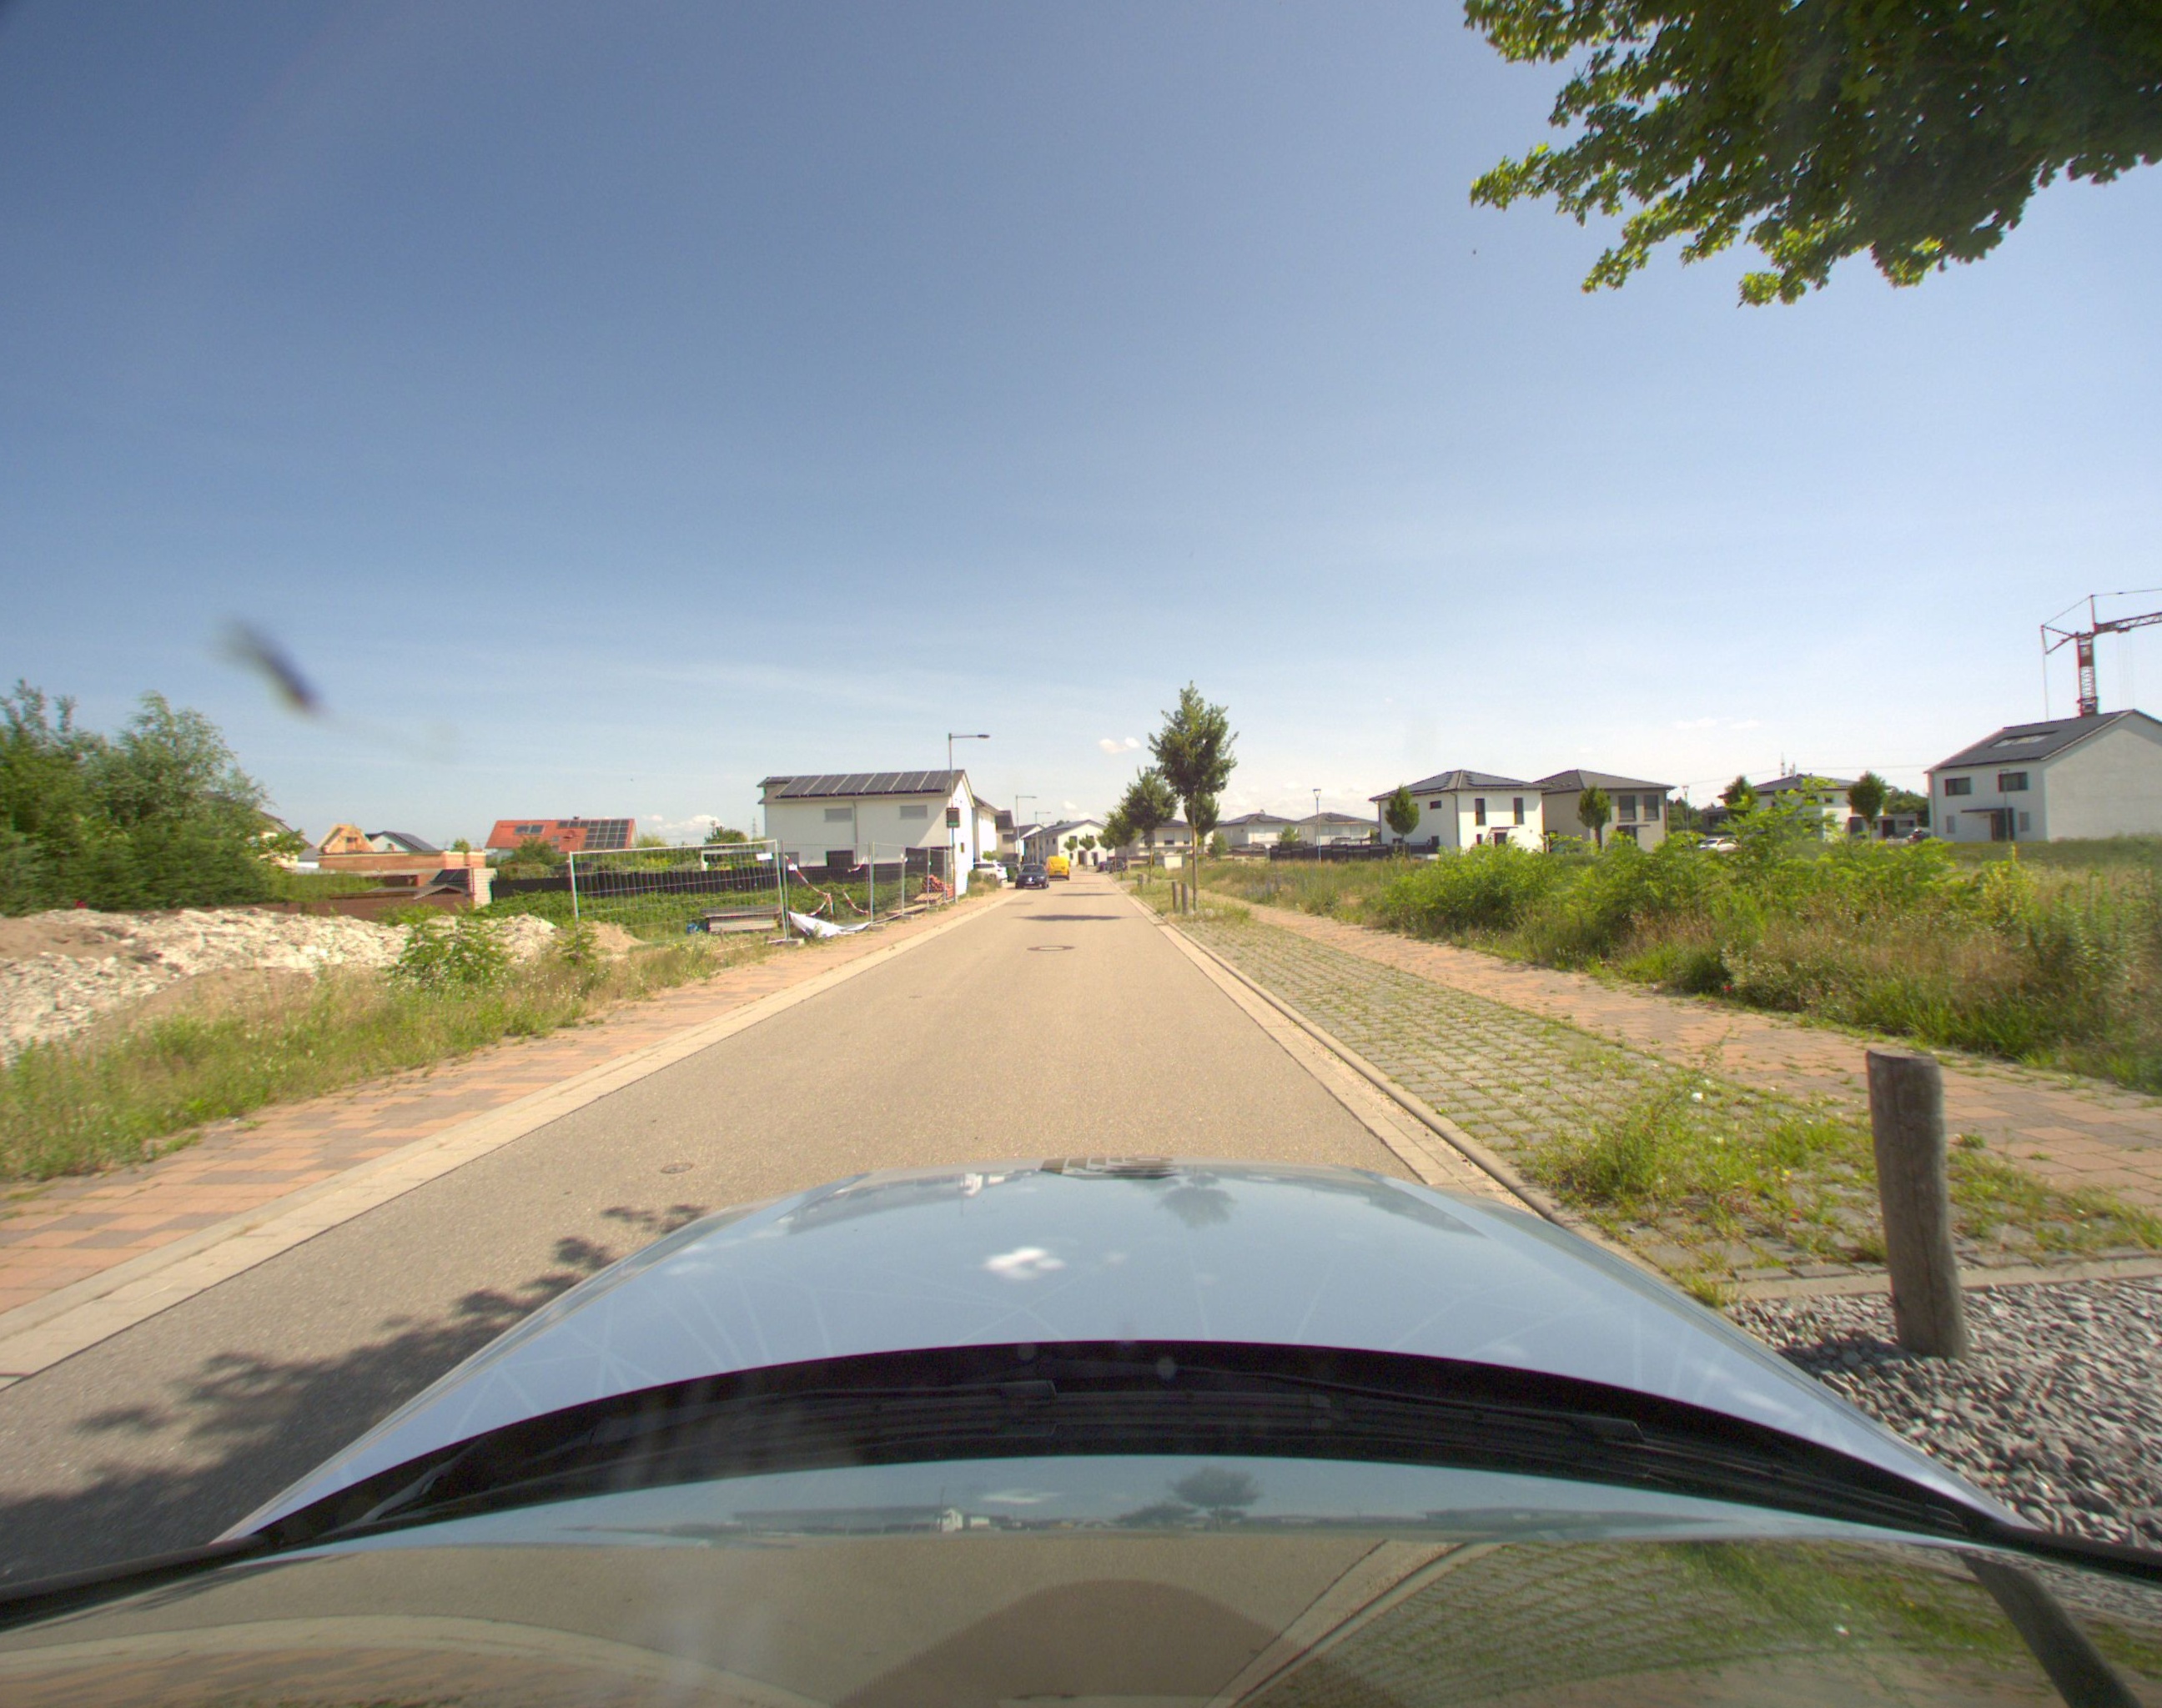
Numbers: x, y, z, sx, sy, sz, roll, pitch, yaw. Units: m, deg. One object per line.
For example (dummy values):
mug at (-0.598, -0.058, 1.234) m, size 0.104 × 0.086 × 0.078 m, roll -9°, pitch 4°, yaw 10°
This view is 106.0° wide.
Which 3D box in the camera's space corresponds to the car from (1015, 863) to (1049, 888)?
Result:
car at (-2.845, 1.247, 48.136) m, size 1.739 × 1.405 × 4.159 m, roll 0°, pitch 0°, yaw 0°

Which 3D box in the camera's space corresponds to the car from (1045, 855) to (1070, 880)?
car at (-1.973, 1.123, 68.359) m, size 1.937 × 1.981 × 4.211 m, roll -2°, pitch -1°, yaw -3°

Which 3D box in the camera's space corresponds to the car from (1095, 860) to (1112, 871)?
car at (2.921, 1.564, 107.042) m, size 1.626 × 1.322 × 3.824 m, roll -2°, pitch -3°, yaw -6°

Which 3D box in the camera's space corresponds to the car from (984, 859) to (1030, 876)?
car at (-7.157, 1.326, 79.088) m, size 4.168 × 1.505 × 1.806 m, roll 2°, pitch -1°, yaw -16°

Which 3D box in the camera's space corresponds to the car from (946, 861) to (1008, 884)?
car at (-7.470, 1.318, 58.712) m, size 4.048 × 1.581 × 1.787 m, roll -1°, pitch 0°, yaw 6°

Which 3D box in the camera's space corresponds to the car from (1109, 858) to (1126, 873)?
car at (3.902, 1.259, 88.432) m, size 1.634 × 1.403 × 3.809 m, roll -2°, pitch -2°, yaw -1°
